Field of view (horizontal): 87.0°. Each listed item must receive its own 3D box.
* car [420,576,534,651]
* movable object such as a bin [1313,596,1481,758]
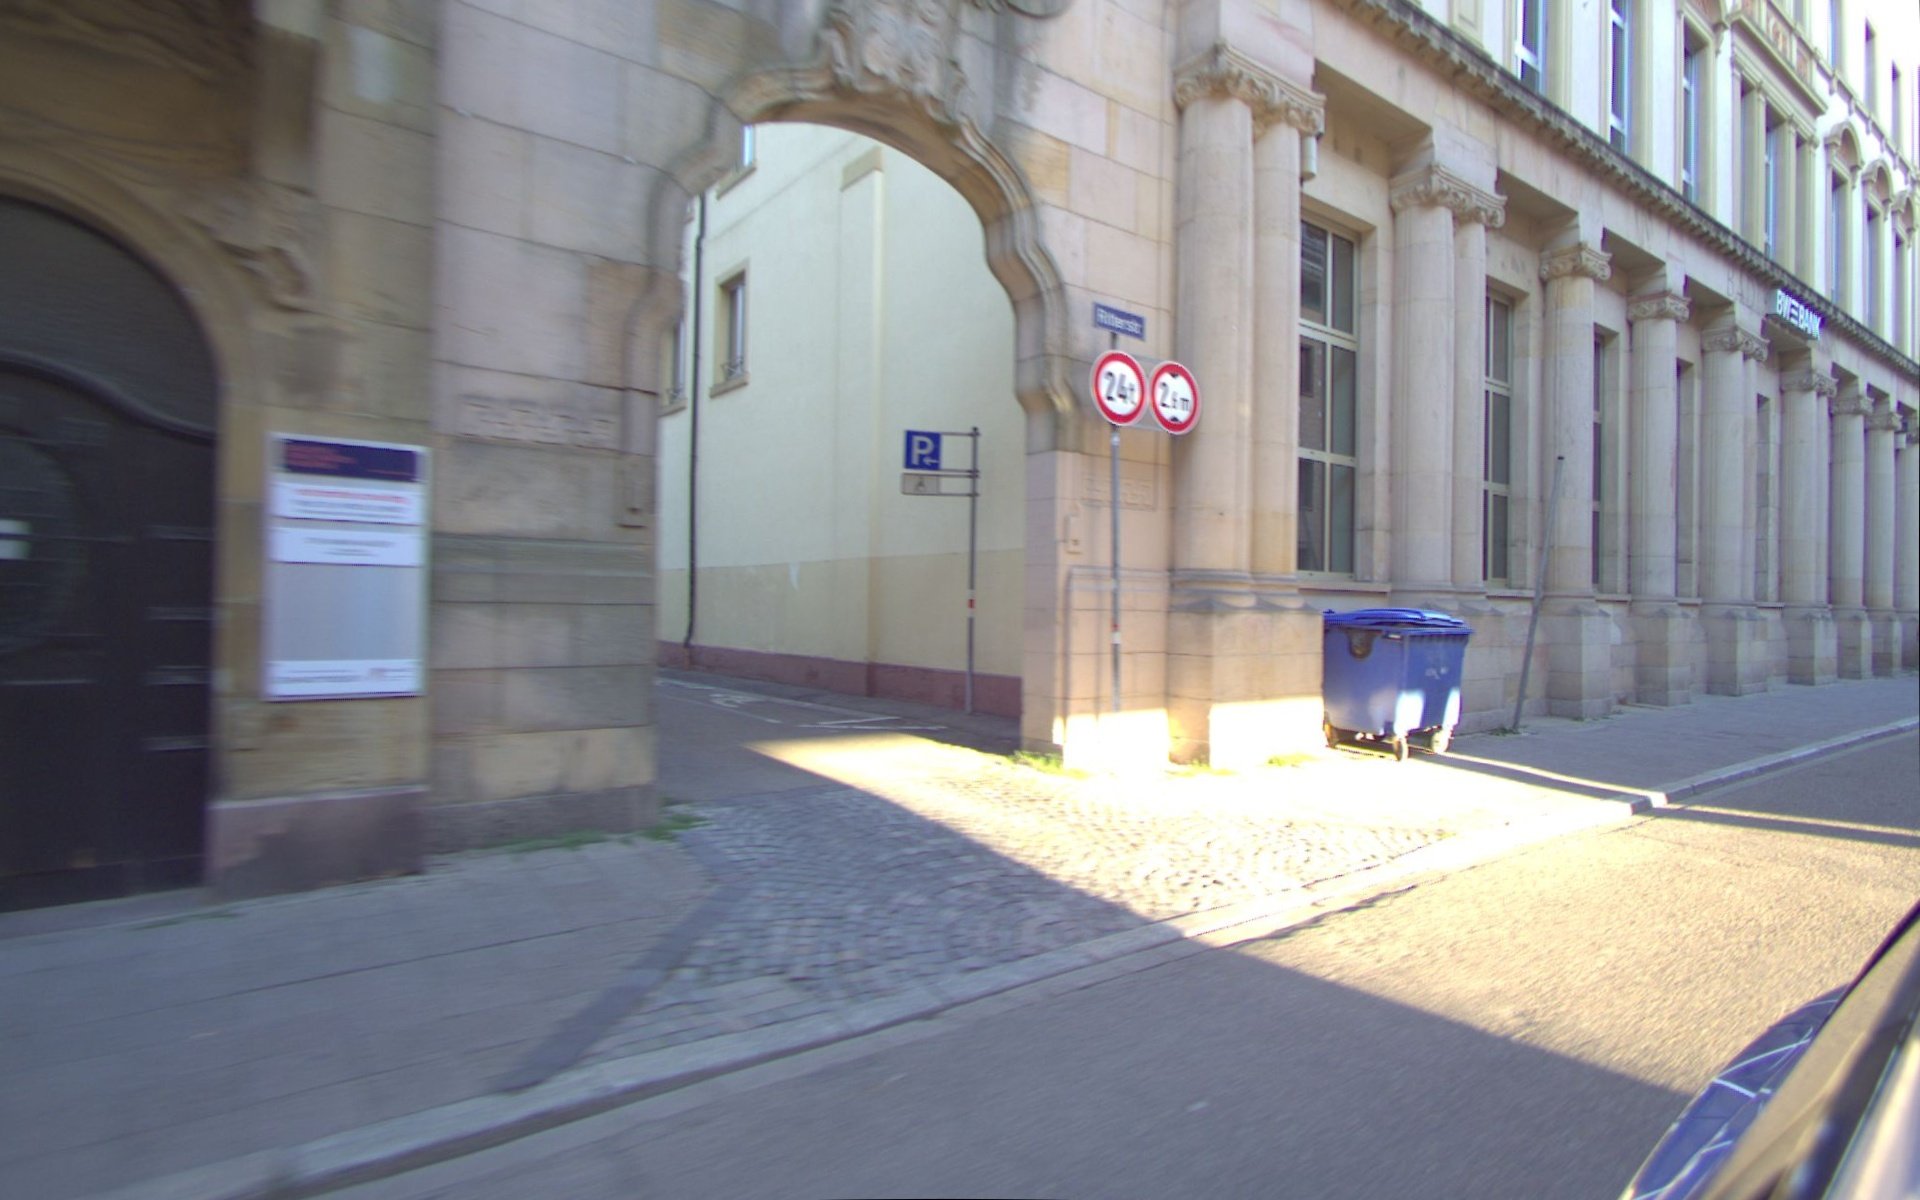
[{"bbox_3d":[-12.102,0.301,25.243,1.756,1.717,3.807,1,0,-38],"label":"car"},{"bbox_3d":[4.184,0.687,9.697,1.217,1.409,0.993,1,0,-37],"label":"movable object such as a bin"}]
